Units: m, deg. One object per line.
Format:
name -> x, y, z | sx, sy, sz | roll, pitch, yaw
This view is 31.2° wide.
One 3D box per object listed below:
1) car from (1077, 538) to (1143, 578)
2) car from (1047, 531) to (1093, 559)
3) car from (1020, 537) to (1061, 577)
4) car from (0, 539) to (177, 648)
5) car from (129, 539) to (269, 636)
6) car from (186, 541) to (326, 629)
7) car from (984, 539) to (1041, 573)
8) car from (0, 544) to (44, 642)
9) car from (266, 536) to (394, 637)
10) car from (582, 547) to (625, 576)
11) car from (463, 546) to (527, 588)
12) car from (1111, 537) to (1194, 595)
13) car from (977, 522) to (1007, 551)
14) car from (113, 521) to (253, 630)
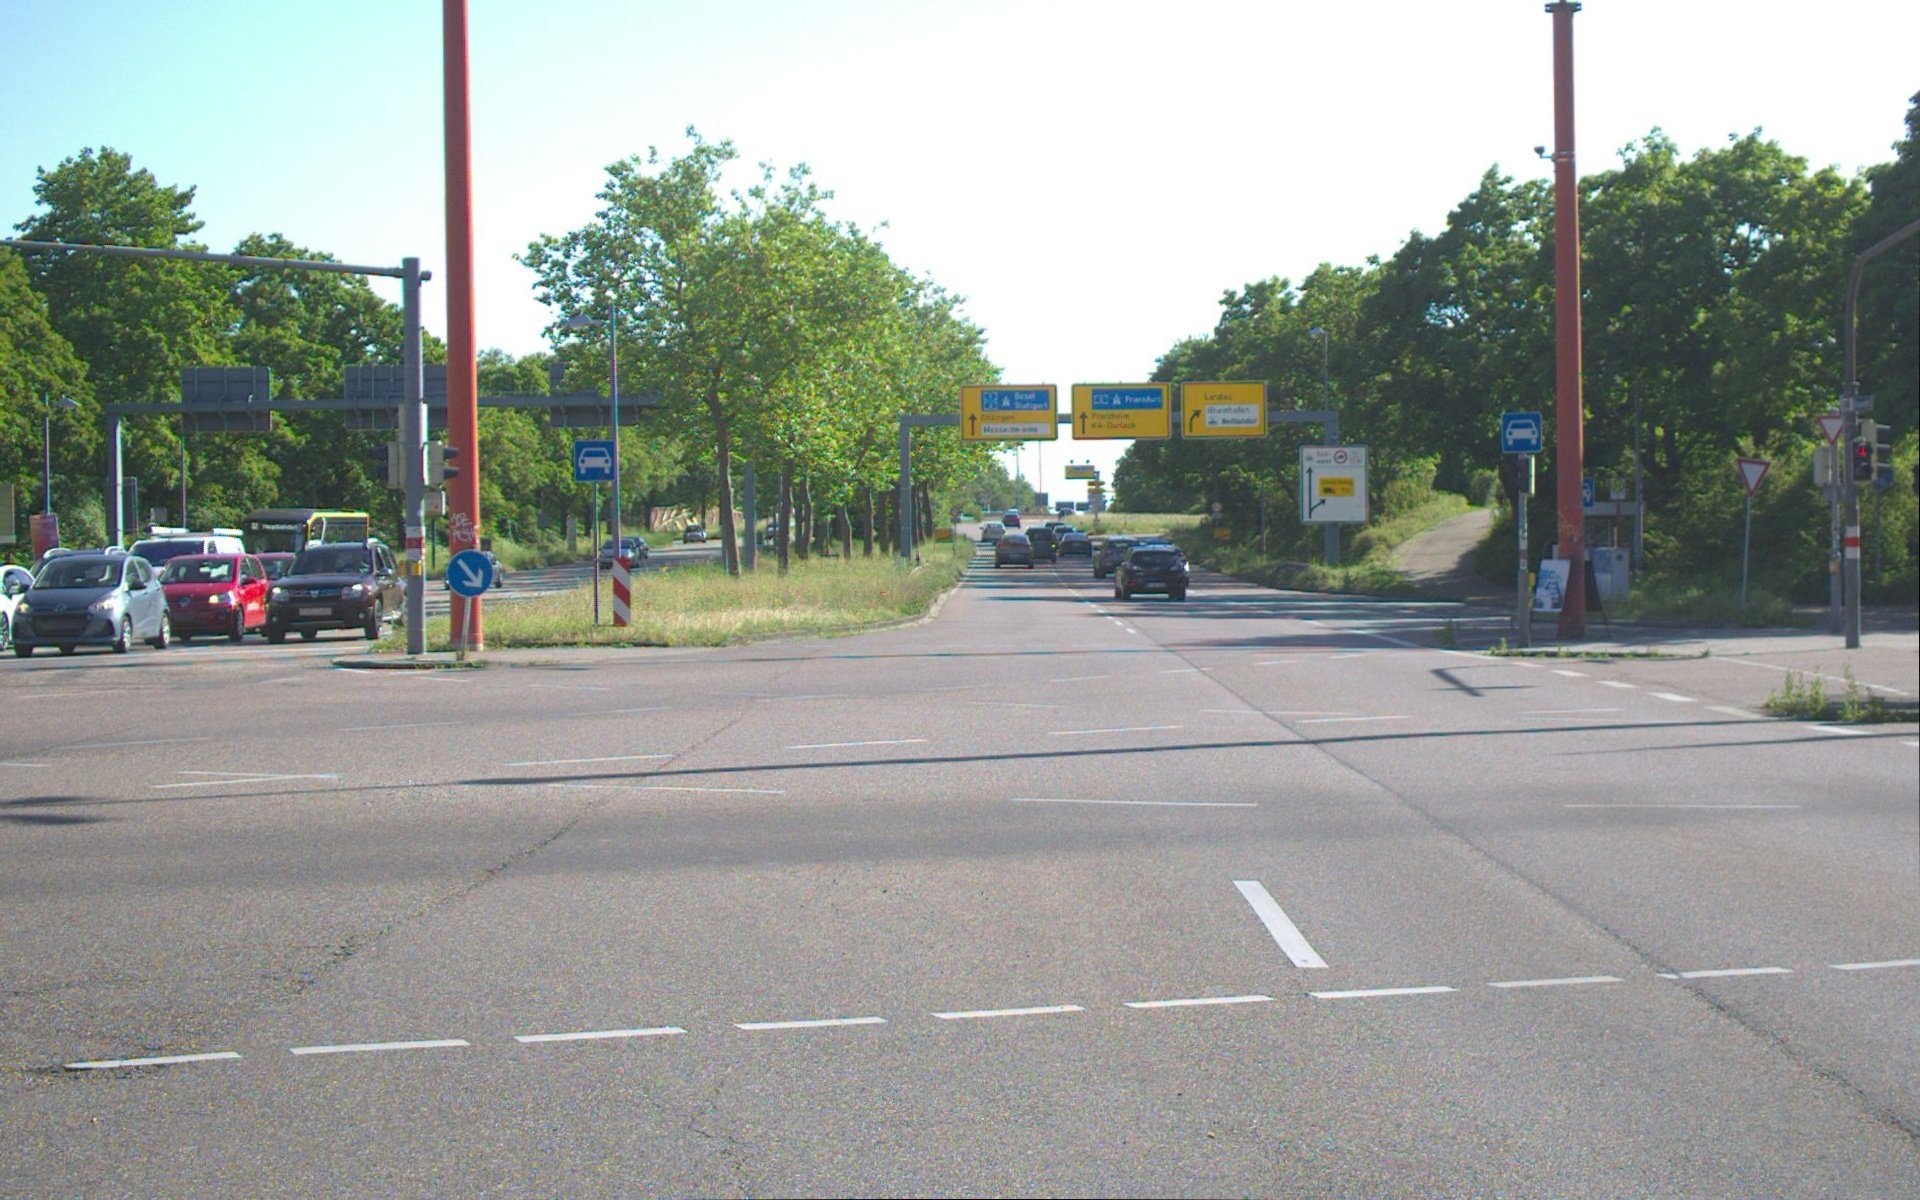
car -> 6.053, -1.711, 139.351 | 2.158, 1.568, 4.281 | -1, 1, -4
car -> 6.255, -3.159, 196.315 | 2.158, 1.568, 4.281 | -1, 1, -4
car -> 4.211, -2.259, 179.710 | 1.993, 2.007, 4.000 | -1, 1, -1
car -> -13.251, -0.134, 52.166 | 1.993, 1.568, 4.121 | -1, 1, -3
car -> -12.897, -0.238, 58.468 | 1.993, 1.568, 4.122 | -1, 1, -8
car -> -13.114, -0.299, 64.247 | 1.993, 1.568, 4.121 | -1, 1, -4
car -> 2.460, -2.081, 163.192 | 2.245, 1.568, 4.282 | -1, 1, -5
car -> -16.487, -0.120, 57.036 | 1.993, 1.568, 4.122 | -2, 1, -8
car -> -10.245, -0.248, 56.147 | 1.876, 1.568, 4.122 | -1, 1, -8
car -> -18.633, -2.025, 179.846 | 1.884, 1.449, 3.656 | -1, 1, 0
car -> -18.045, -1.305, 133.611 | 1.993, 1.568, 4.121 | -1, 1, -1
car -> 5.350, -0.955, 95.977 | 2.159, 1.568, 4.281 | -1, 1, 1
car -> 2.247, -4.496, 242.357 | 1.993, 2.007, 4.000 | -1, 1, -1
car -> -16.113, -0.532, 71.508 | 2.062, 2.185, 4.379 | -1, 1, -2
